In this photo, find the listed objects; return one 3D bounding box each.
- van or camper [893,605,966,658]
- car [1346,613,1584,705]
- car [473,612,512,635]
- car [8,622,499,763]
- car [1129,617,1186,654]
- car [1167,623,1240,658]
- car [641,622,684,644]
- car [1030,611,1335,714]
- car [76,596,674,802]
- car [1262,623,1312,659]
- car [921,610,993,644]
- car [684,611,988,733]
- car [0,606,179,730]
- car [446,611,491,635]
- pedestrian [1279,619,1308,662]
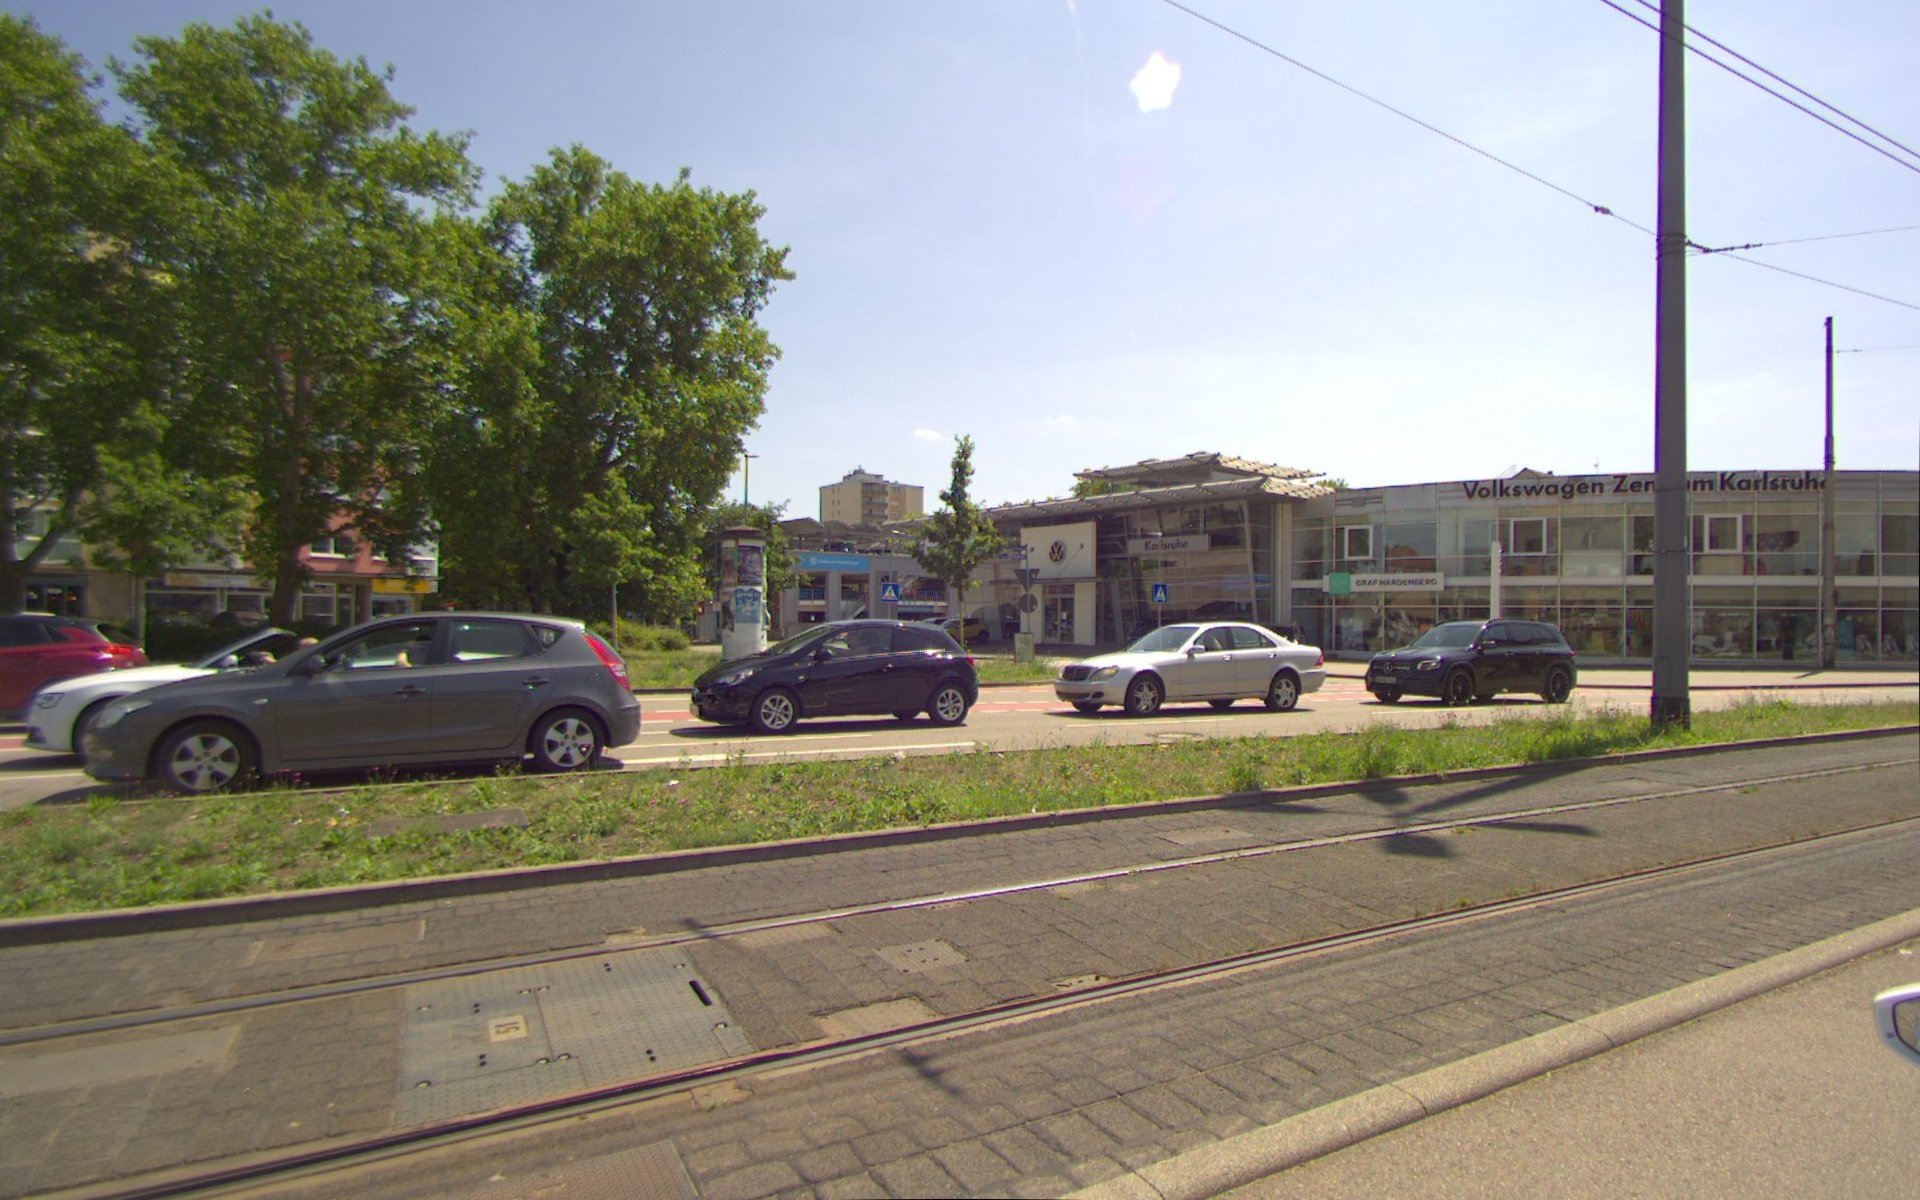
[{"bbox_3d":[-1.798,1.873,59.940,3.967,3.043,1.977,1,-1,-40],"label":"van or camper"},{"bbox_3d":[9.891,1.123,19.666,4.464,1.648,1.817,1,-2,-25],"label":"car"},{"bbox_3d":[-31.495,1.566,67.702,3.160,1.506,1.276,0,-1,43],"label":"car"},{"bbox_3d":[-7.475,0.950,11.166,4.152,1.316,1.700,2,-3,-29],"label":"car"},{"bbox_3d":[9.069,1.612,45.961,1.404,1.639,3.322,0,-1,33],"label":"car"},{"bbox_3d":[10.754,1.747,44.221,1.587,1.439,4.171,0,-1,38],"label":"car"},{"bbox_3d":[-22.835,2.528,77.006,1.814,1.578,3.957,1,-1,-38],"label":"car"},{"bbox_3d":[3.864,1.044,17.242,5.067,1.550,1.986,2,-3,-28],"label":"car"},{"bbox_3d":[-4.959,0.769,9.150,4.274,1.500,1.837,1,-2,-27],"label":"car"},{"bbox_3d":[14.121,1.724,43.274,1.474,1.476,4.051,0,-1,27],"label":"car"},{"bbox_3d":[-0.127,1.559,57.675,4.066,1.857,1.642,2,-1,-41],"label":"car"},{"bbox_3d":[-1.678,0.933,13.893,3.855,1.481,1.664,1,-2,-29],"label":"car"},{"bbox_3d":[-13.414,0.909,13.522,4.346,1.618,1.527,1,-2,-29],"label":"car"},{"bbox_3d":[-31.968,1.507,65.321,3.160,1.506,1.577,0,-1,43],"label":"car"},{"bbox_3d":[13.111,1.604,39.509,0.809,1.664,0.725,1,-1,-25],"label":"pedestrian"}]
